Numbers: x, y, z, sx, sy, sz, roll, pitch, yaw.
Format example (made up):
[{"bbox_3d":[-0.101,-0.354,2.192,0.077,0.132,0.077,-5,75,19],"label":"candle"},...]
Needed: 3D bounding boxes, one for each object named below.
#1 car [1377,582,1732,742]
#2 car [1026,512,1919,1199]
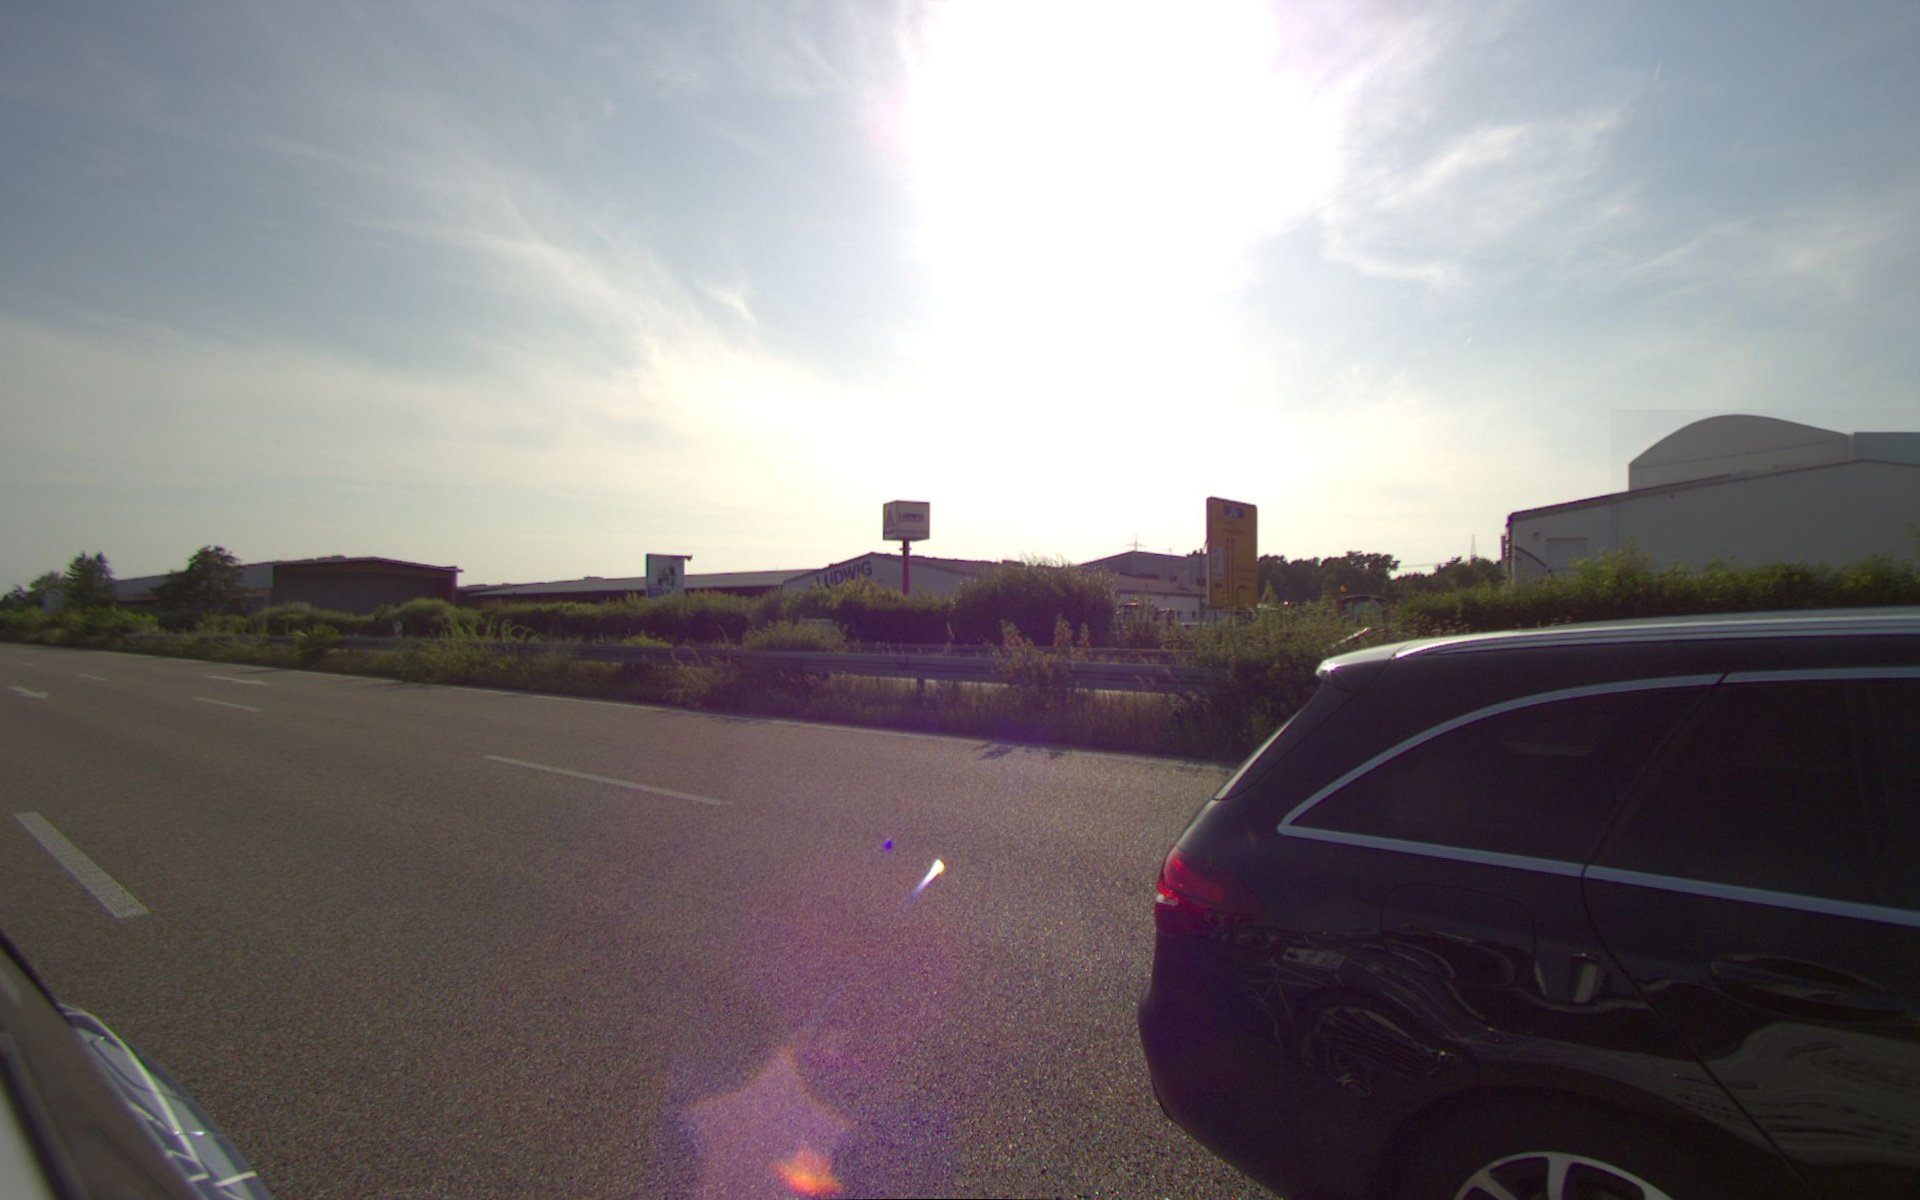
[{"bbox_3d":[7.074,0.674,12.207,3.458,1.656,1.579,-1,-1,41],"label":"car"},{"bbox_3d":[2.538,0.619,1.216,5.020,1.482,1.556,-1,-1,41],"label":"car"}]
